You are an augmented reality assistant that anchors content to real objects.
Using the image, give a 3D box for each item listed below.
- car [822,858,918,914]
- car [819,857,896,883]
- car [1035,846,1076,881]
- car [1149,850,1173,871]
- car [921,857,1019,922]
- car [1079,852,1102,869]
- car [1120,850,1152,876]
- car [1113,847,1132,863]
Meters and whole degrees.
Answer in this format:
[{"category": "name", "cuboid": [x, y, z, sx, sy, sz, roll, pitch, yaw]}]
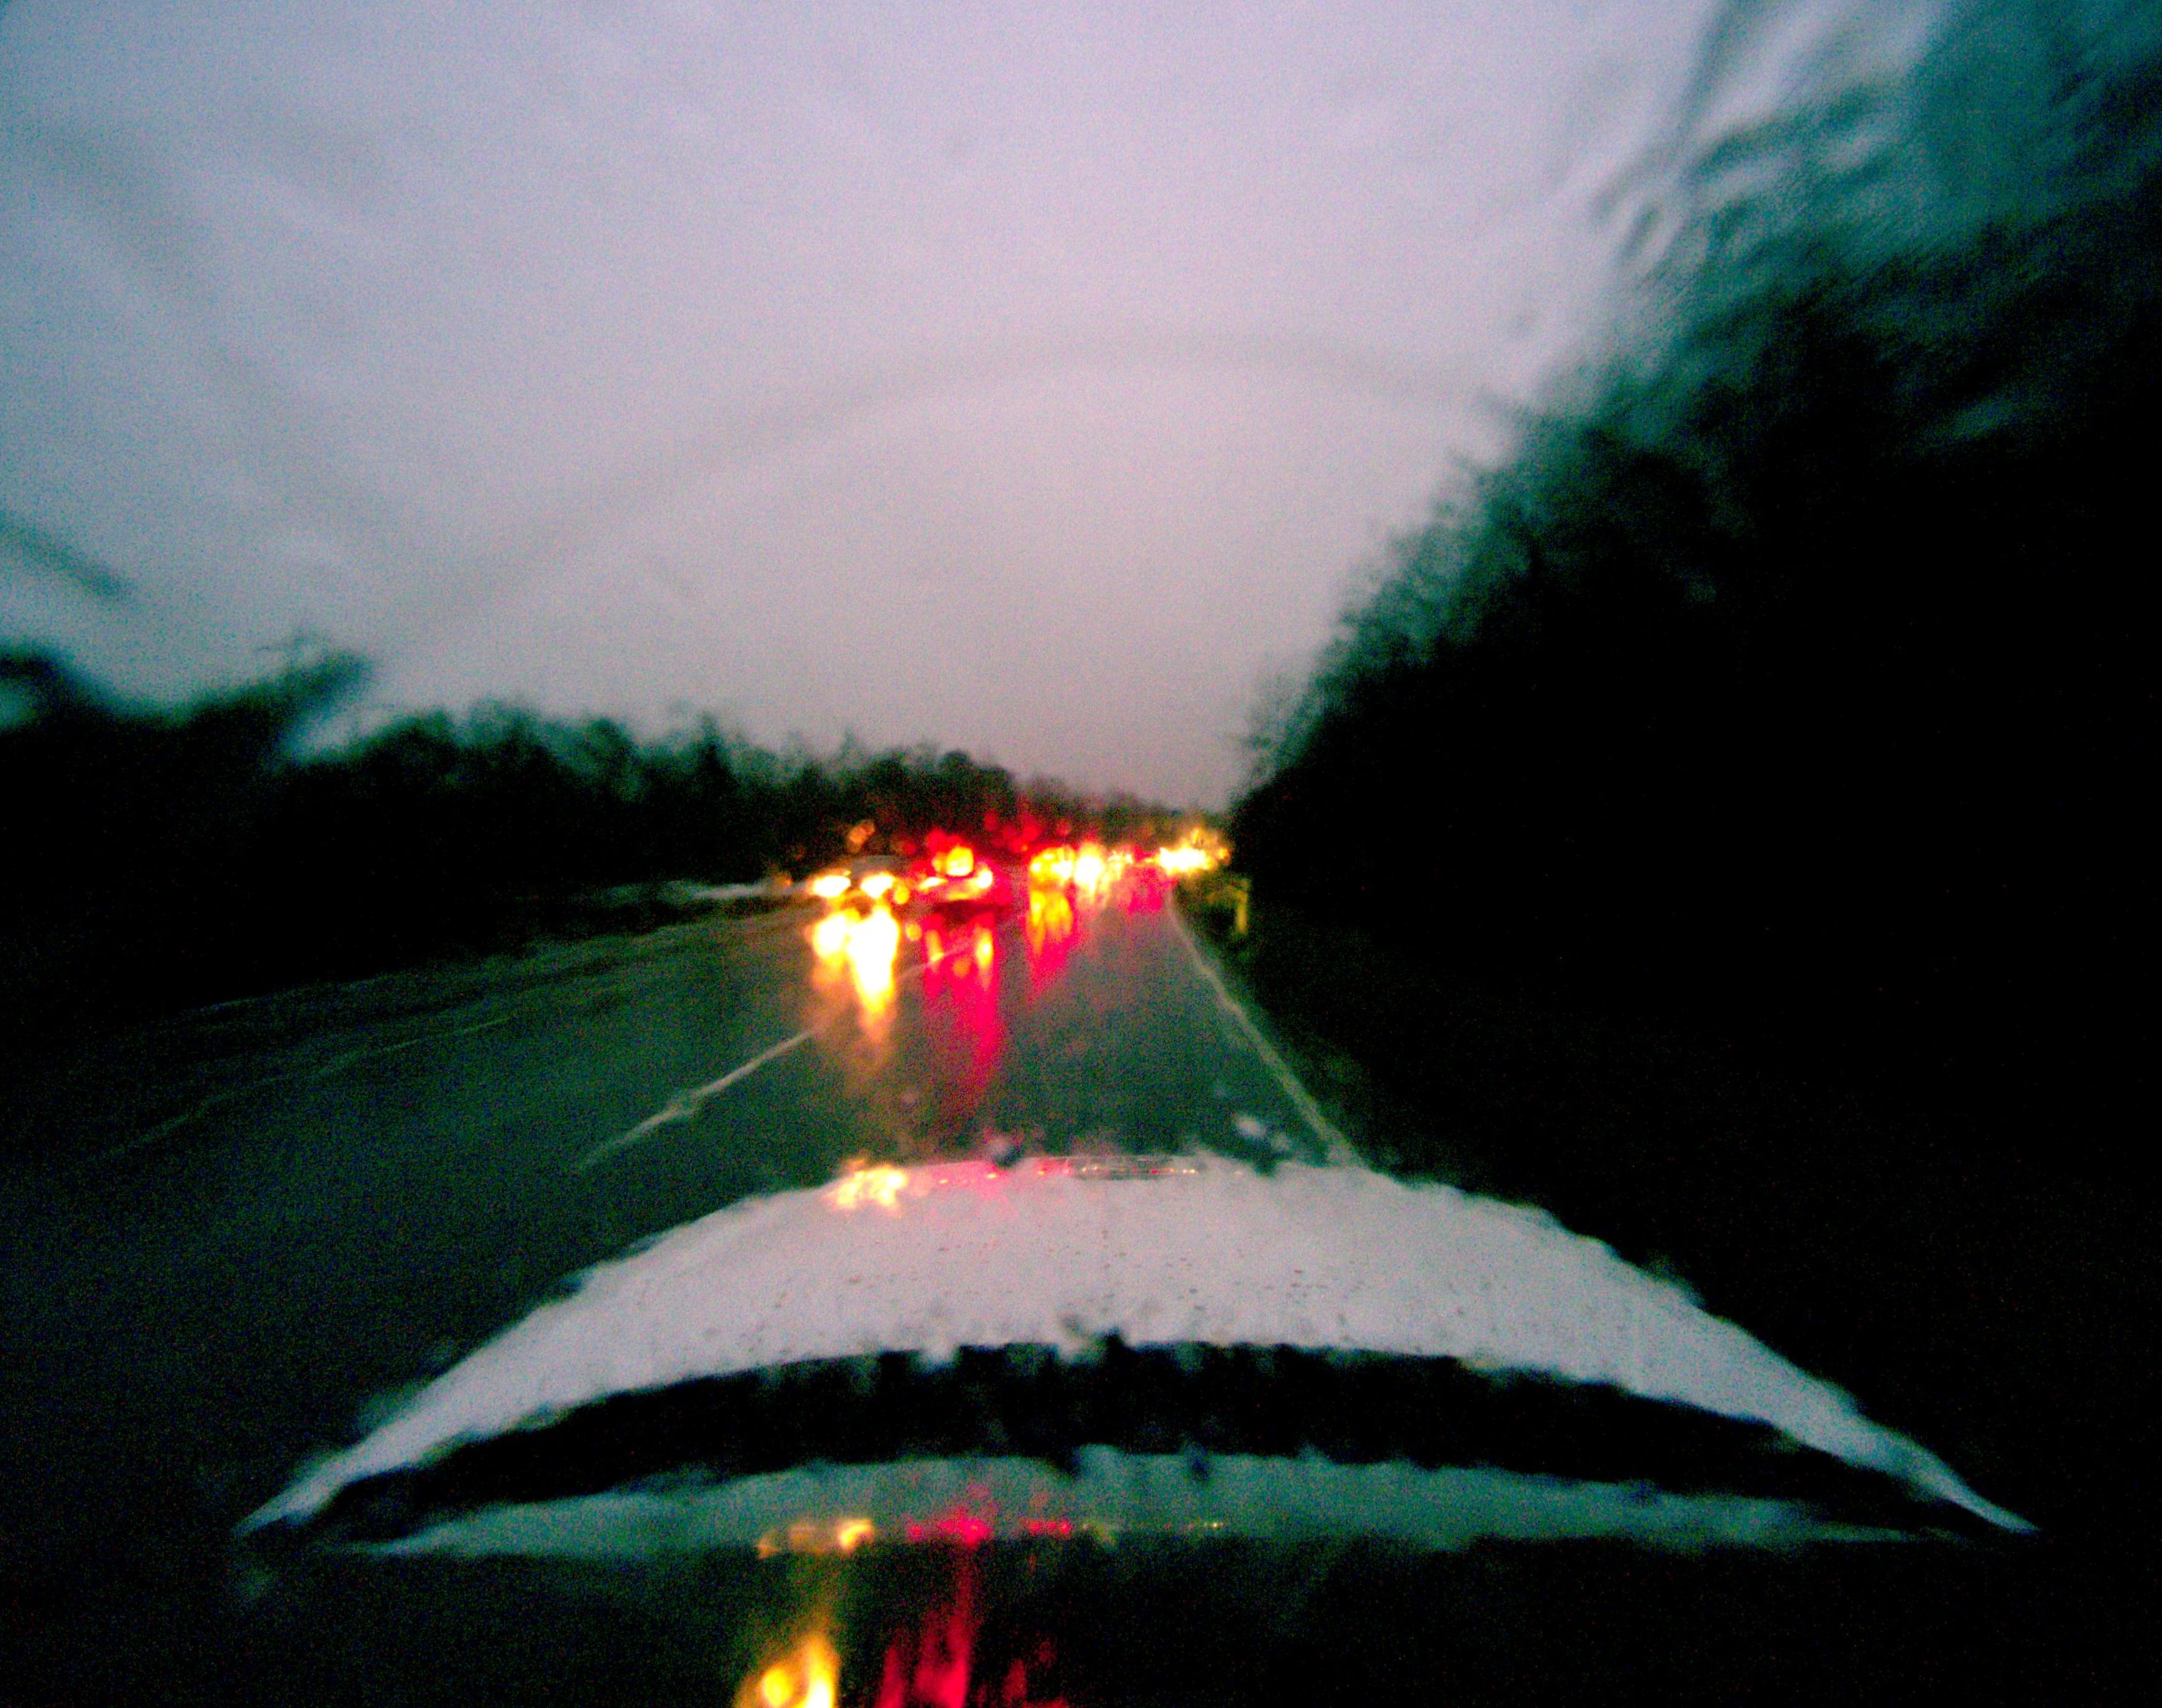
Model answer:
[{"category": "car", "cuboid": [-6.373, 0.901, 25.106, 1.639, 1.556, 4.384, -1, 0, 3]}, {"category": "car", "cuboid": [-15.700, 1.143, 57.227, 4.830, 1.756, 1.936, 2, 0, -35]}, {"category": "car", "cuboid": [-1.221, 0.440, 40.581, 1.706, 1.627, 4.221, 0, 0, 3]}, {"category": "car", "cuboid": [6.942, 0.542, 70.245, 1.668, 1.675, 4.109, -1, 0, 10]}, {"category": "car", "cuboid": [-3.030, 0.922, 23.149, 1.998, 1.556, 4.517, -3, 0, 1]}, {"category": "car", "cuboid": [0.928, 0.630, 78.372, 1.814, 1.616, 4.581, 0, 0, 6]}, {"category": "car", "cuboid": [3.216, 0.467, 46.945, 1.670, 1.389, 4.105, -1, 0, 6]}, {"category": "car", "cuboid": [5.285, 0.077, 102.932, 1.827, 1.970, 4.369, 1, 0, 9]}]
